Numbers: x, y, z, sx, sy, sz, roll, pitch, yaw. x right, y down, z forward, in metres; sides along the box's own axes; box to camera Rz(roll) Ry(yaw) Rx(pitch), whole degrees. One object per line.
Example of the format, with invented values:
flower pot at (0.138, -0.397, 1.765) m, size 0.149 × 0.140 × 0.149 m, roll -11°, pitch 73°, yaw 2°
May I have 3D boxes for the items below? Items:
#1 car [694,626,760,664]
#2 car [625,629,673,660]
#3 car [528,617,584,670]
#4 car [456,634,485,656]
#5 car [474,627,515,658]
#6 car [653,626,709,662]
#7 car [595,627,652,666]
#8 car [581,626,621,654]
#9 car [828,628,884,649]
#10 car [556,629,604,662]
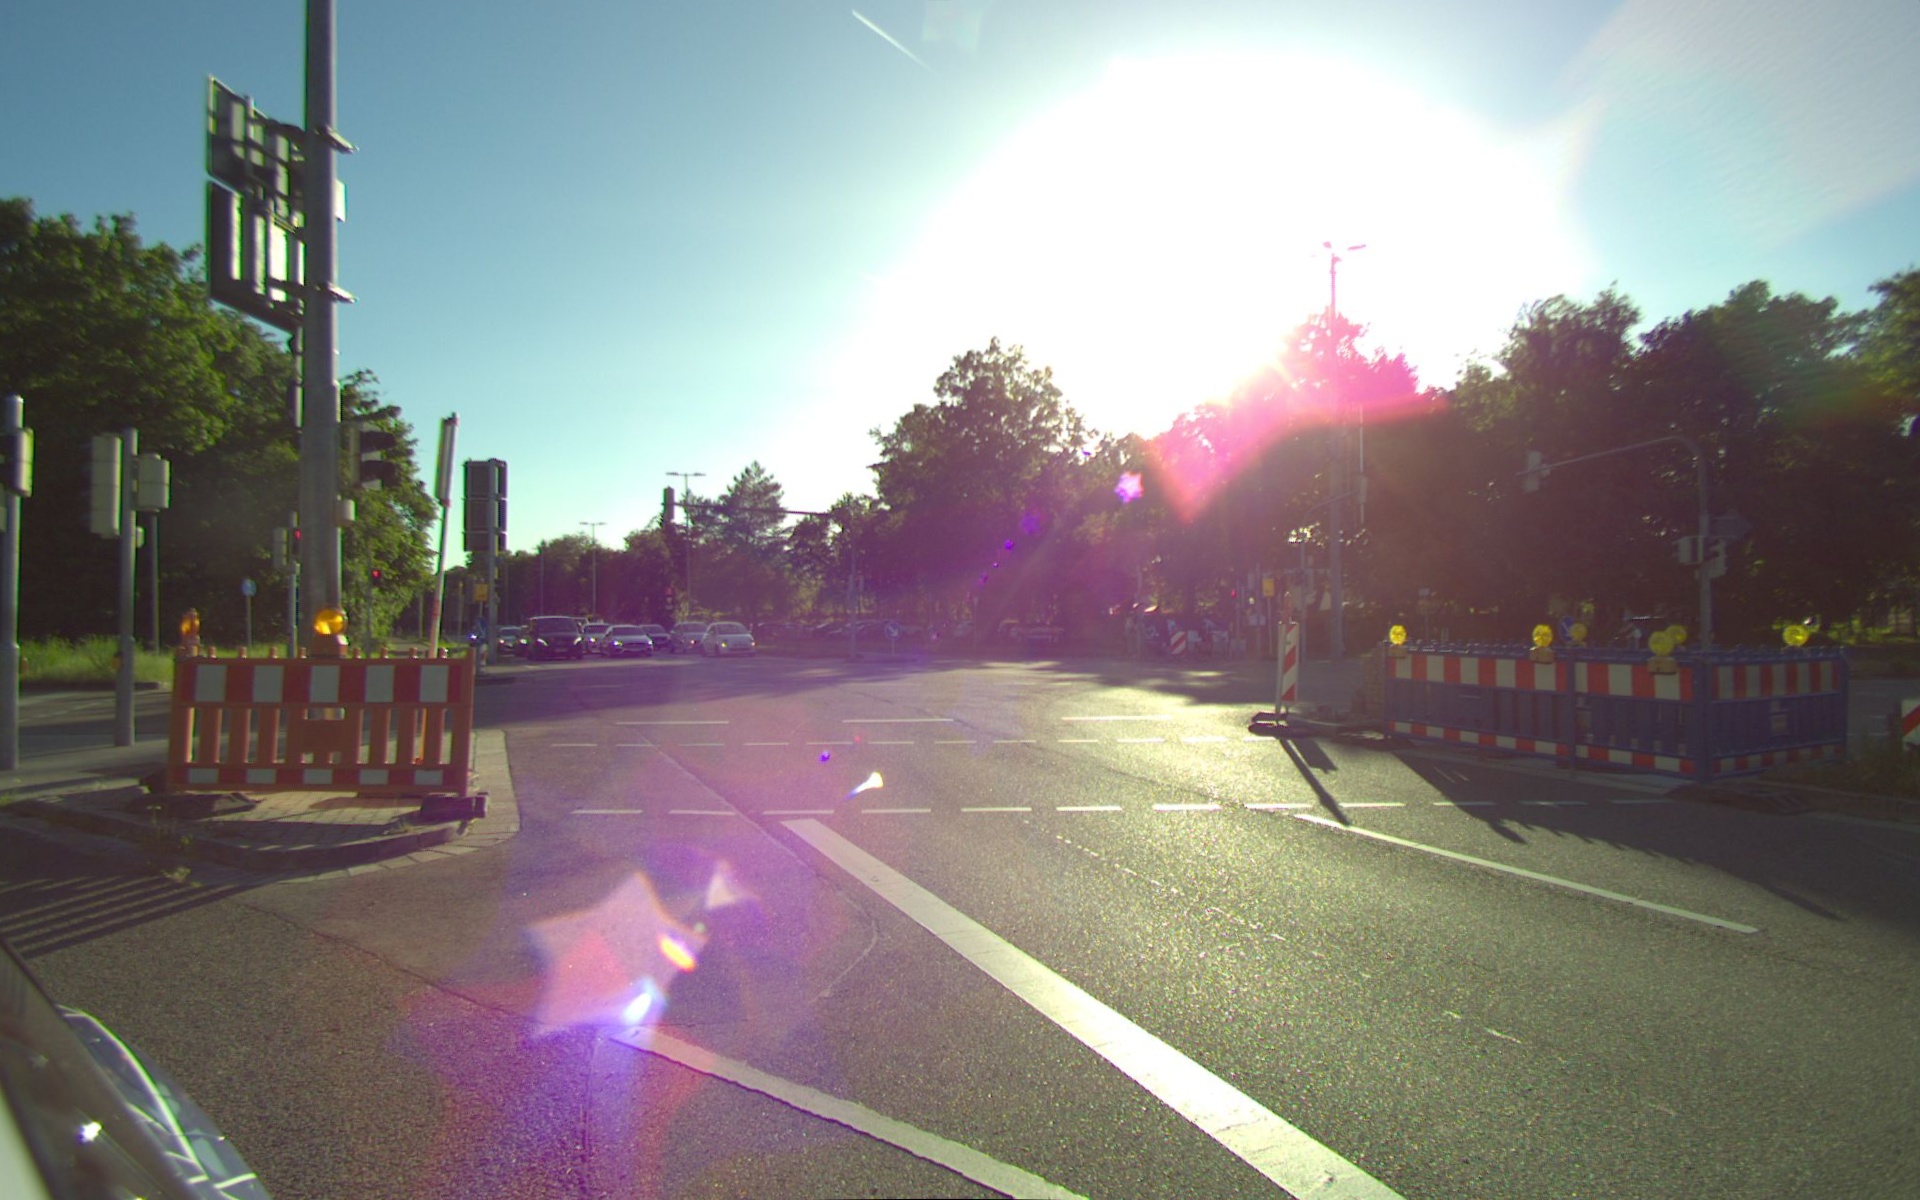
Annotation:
car at (-9.912, 1.866, 42.857) m, size 1.965 × 1.530 × 4.013 m, roll 0°, pitch -1°, yaw -25°
car at (-17.282, 2.414, 56.141) m, size 1.965 × 1.530 × 4.013 m, roll -1°, pitch 0°, yaw -25°
car at (-17.291, 1.808, 43.244) m, size 1.965 × 2.084 × 4.013 m, roll -1°, pitch 0°, yaw -25°
car at (-37.624, 3.453, 77.893) m, size 1.965 × 1.530 × 4.013 m, roll -1°, pitch 0°, yaw -25°
car at (-25.870, 2.328, 56.227) m, size 1.965 × 1.530 × 4.013 m, roll -1°, pitch 0°, yaw -25°
car at (-13.492, 2.089, 48.818) m, size 1.965 × 1.530 × 4.013 m, roll -1°, pitch 0°, yaw -25°
car at (-15.240, 2.058, 45.675) m, size 1.965 × 1.530 × 4.013 m, roll -1°, pitch 0°, yaw -25°
car at (-22.499, 2.482, 63.348) m, size 1.965 × 1.530 × 4.013 m, roll -1°, pitch 0°, yaw -25°
car at (-8.243, 3.043, 80.383) m, size 3.935 × 1.530 × 2.004 m, roll -1°, pitch 0°, yaw -37°
car at (-19.480, 2.288, 51.747) m, size 1.965 × 1.530 × 4.013 m, roll -1°, pitch 0°, yaw -25°
